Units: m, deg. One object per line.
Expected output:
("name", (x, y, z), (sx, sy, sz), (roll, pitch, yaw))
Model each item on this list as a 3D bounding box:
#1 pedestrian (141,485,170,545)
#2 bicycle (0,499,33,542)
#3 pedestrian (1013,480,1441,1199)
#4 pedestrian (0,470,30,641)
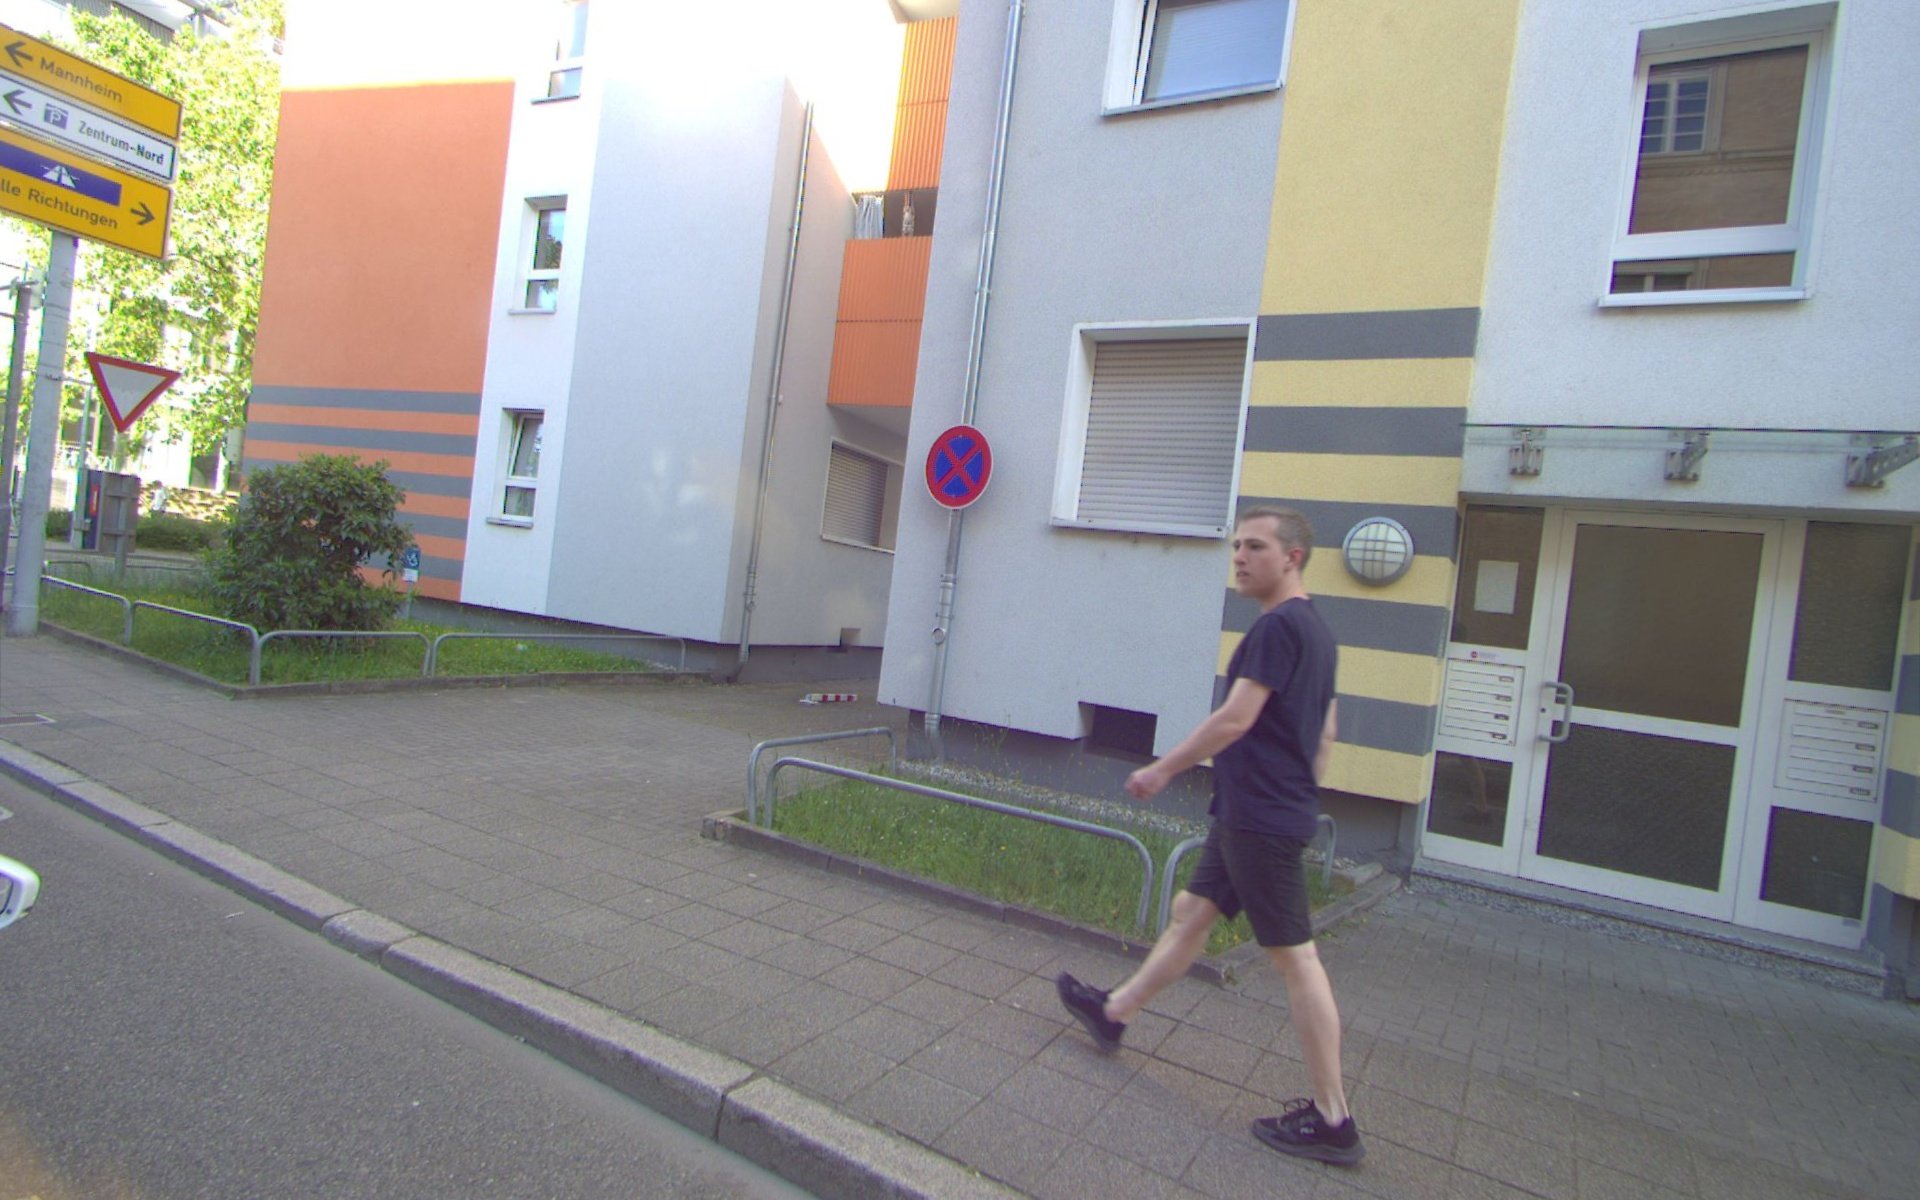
("pedestrian", (-26.103, -2.758, 32.629), (0.535, 1.854, 1.028), (6, 1, -43))
("bicycle", (-26.447, -2.244, 27.299), (1.883, 1.062, 0.463), (7, 1, -10))
("pedestrian", (0.787, 0.604, 3.009), (0.901, 1.813, 0.643), (7, 4, 35))
("pedestrian", (-9.379, -0.446, 9.282), (0.737, 1.595, 0.954), (7, 4, 27))
